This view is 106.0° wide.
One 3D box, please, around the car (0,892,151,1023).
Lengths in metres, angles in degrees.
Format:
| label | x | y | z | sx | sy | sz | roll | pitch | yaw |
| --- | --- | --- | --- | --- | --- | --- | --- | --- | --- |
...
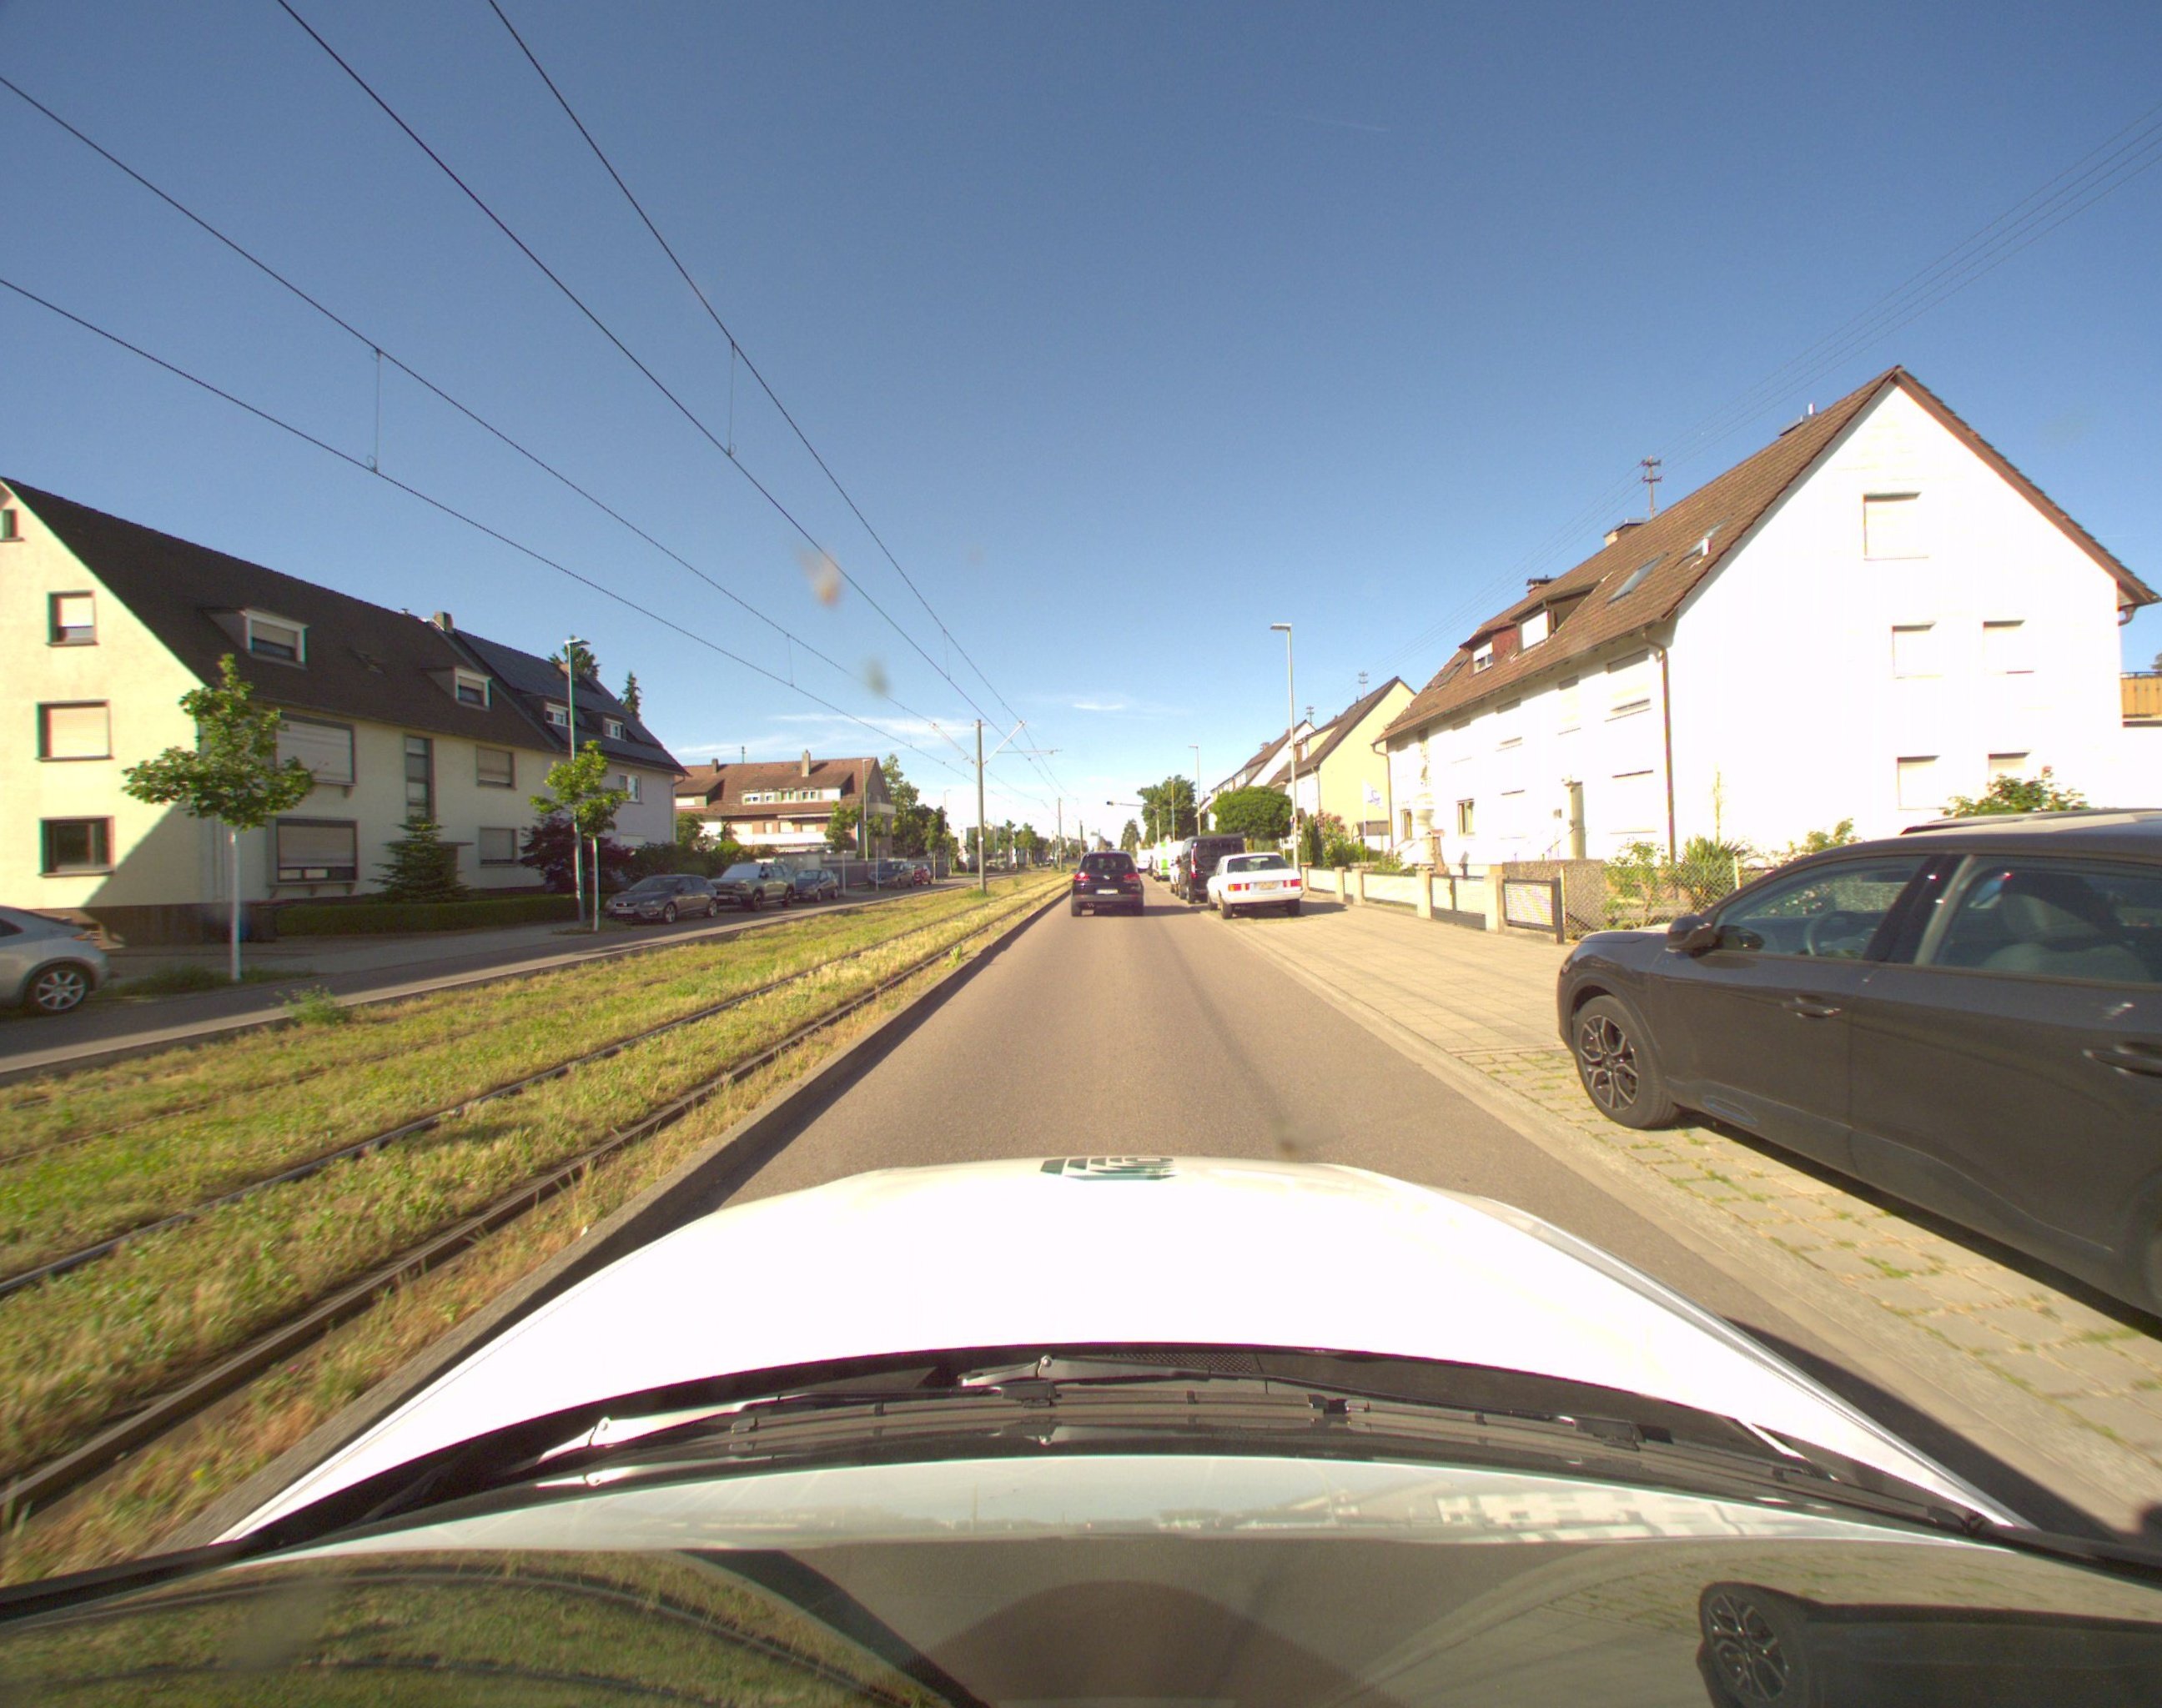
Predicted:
| label | x | y | z | sx | sy | sz | roll | pitch | yaw |
| --- | --- | --- | --- | --- | --- | --- | --- | --- | --- |
| car | -13.449 | 1.236 | 8.791 | 1.683 | 1.475 | 4.442 | 0 | -1 | 0 |

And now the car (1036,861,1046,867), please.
| label | x | y | z | sx | sy | sz | roll | pitch | yaw |
| --- | --- | --- | --- | --- | --- | --- | --- | --- | --- |
| car | -9.737 | 2.492 | 199.199 | 1.680 | 1.389 | 4.392 | -4 | -1 | 4 |

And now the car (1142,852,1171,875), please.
| label | x | y | z | sx | sy | sz | roll | pitch | yaw |
| --- | --- | --- | --- | --- | --- | --- | --- | --- | --- |
| car | 5.483 | 0.711 | 59.646 | 1.741 | 1.494 | 5.158 | -3 | -1 | 3 |

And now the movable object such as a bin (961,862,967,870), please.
| label | x | y | z | sx | sy | sz | roll | pitch | yaw |
| --- | --- | --- | --- | --- | --- | --- | --- | --- | --- |
| movable object such as a bin | -19.824 | 2.003 | 137.882 | 0.660 | 1.433 | 1.258 | -1 | -1 | 10 |

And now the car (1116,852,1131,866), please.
| label | x | y | z | sx | sy | sz | roll | pitch | yaw |
| --- | --- | --- | --- | --- | --- | --- | --- | --- | --- |
| car | 5.887 | 0.677 | 113.511 | 1.623 | 1.828 | 4.127 | -2 | 0 | -2 |

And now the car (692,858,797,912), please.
| label | x | y | z | sx | sy | sz | roll | pitch | yaw |
| --- | --- | --- | --- | --- | --- | --- | --- | --- | --- |
| car | -12.462 | 1.080 | 30.515 | 1.738 | 1.823 | 4.844 | 0 | 0 | 3 |

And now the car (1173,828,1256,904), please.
| label | x | y | z | sx | sy | sz | roll | pitch | yaw |
| --- | --- | --- | --- | --- | --- | --- | --- | --- | --- |
| car | 4.235 | 0.362 | 26.732 | 1.952 | 2.144 | 5.338 | -3 | -1 | 2 |

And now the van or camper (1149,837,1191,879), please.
| label | x | y | z | sx | sy | sz | roll | pitch | yaw |
| --- | --- | --- | --- | --- | --- | --- | --- | --- | --- |
| van or camper | 5.301 | 0.265 | 49.251 | 1.985 | 2.271 | 6.308 | -3 | -1 | 3 |

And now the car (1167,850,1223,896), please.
| label | x | y | z | sx | sy | sz | roll | pitch | yaw |
| --- | --- | --- | --- | --- | --- | --- | --- | --- | --- |
| car | 4.482 | 0.712 | 32.579 | 1.719 | 1.645 | 4.321 | -3 | -1 | 2 |

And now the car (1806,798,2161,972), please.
| label | x | y | z | sx | sy | sz | roll | pitch | yaw |
| --- | --- | --- | --- | --- | --- | --- | --- | --- | --- |
| car | 11.223 | 0.277 | 9.063 | 4.402 | 1.655 | 2.195 | -1 | -1 | -2 |

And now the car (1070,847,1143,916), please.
| label | x | y | z | sx | sy | sz | roll | pitch | yaw |
| --- | --- | --- | --- | --- | --- | --- | --- | --- | --- |
| car | 0.640 | 0.688 | 21.718 | 1.770 | 1.670 | 4.000 | 0 | -1 | 0 |

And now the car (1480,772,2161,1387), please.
| label | x | y | z | sx | sy | sz | roll | pitch | yaw |
| --- | --- | --- | --- | --- | --- | --- | --- | --- | --- |
| car | 3.562 | 0.517 | 3.265 | 1.770 | 1.498 | 4.731 | -2 | 0 | 3 |

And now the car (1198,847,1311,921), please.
| label | x | y | z | sx | sy | sz | roll | pitch | yaw |
| --- | --- | --- | --- | --- | --- | --- | --- | --- | --- |
| car | 4.077 | 0.638 | 20.089 | 1.845 | 1.443 | 5.618 | -4 | 0 | 3 |

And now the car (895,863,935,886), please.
| label | x | y | z | sx | sy | sz | roll | pitch | yaw |
| --- | --- | --- | --- | --- | --- | --- | --- | --- | --- |
| car | -11.381 | 1.364 | 55.981 | 1.688 | 1.405 | 4.082 | -2 | 0 | 3 |

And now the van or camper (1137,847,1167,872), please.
| label | x | y | z | sx | sy | sz | roll | pitch | yaw |
| --- | --- | --- | --- | --- | --- | --- | --- | --- | --- |
| van or camper | 6.180 | 0.430 | 70.069 | 2.015 | 1.956 | 5.310 | -2 | 0 | 10 |

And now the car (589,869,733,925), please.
| label | x | y | z | sx | sy | sz | roll | pitch | yaw |
| --- | --- | --- | --- | --- | --- | --- | --- | --- | --- |
| car | -12.800 | 1.247 | 25.192 | 1.953 | 1.540 | 4.559 | 0 | -1 | 2 |

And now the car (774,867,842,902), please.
| label | x | y | z | sx | sy | sz | roll | pitch | yaw |
| --- | --- | --- | --- | --- | --- | --- | --- | --- | --- |
| car | -12.321 | 1.340 | 37.012 | 1.671 | 1.491 | 4.049 | 0 | 0 | 0 |

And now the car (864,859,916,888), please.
| label | x | y | z | sx | sy | sz | roll | pitch | yaw |
| --- | --- | --- | --- | --- | --- | --- | --- | --- | --- |
| car | -11.642 | 1.179 | 49.963 | 1.812 | 1.684 | 4.849 | 0 | 0 | 3 |

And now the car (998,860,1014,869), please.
| label | x | y | z | sx | sy | sz | roll | pitch | yaw |
| --- | --- | --- | --- | --- | --- | --- | --- | --- | --- |
| car | -12.528 | 1.737 | 136.012 | 1.801 | 1.461 | 4.325 | 0 | -1 | 7 |
